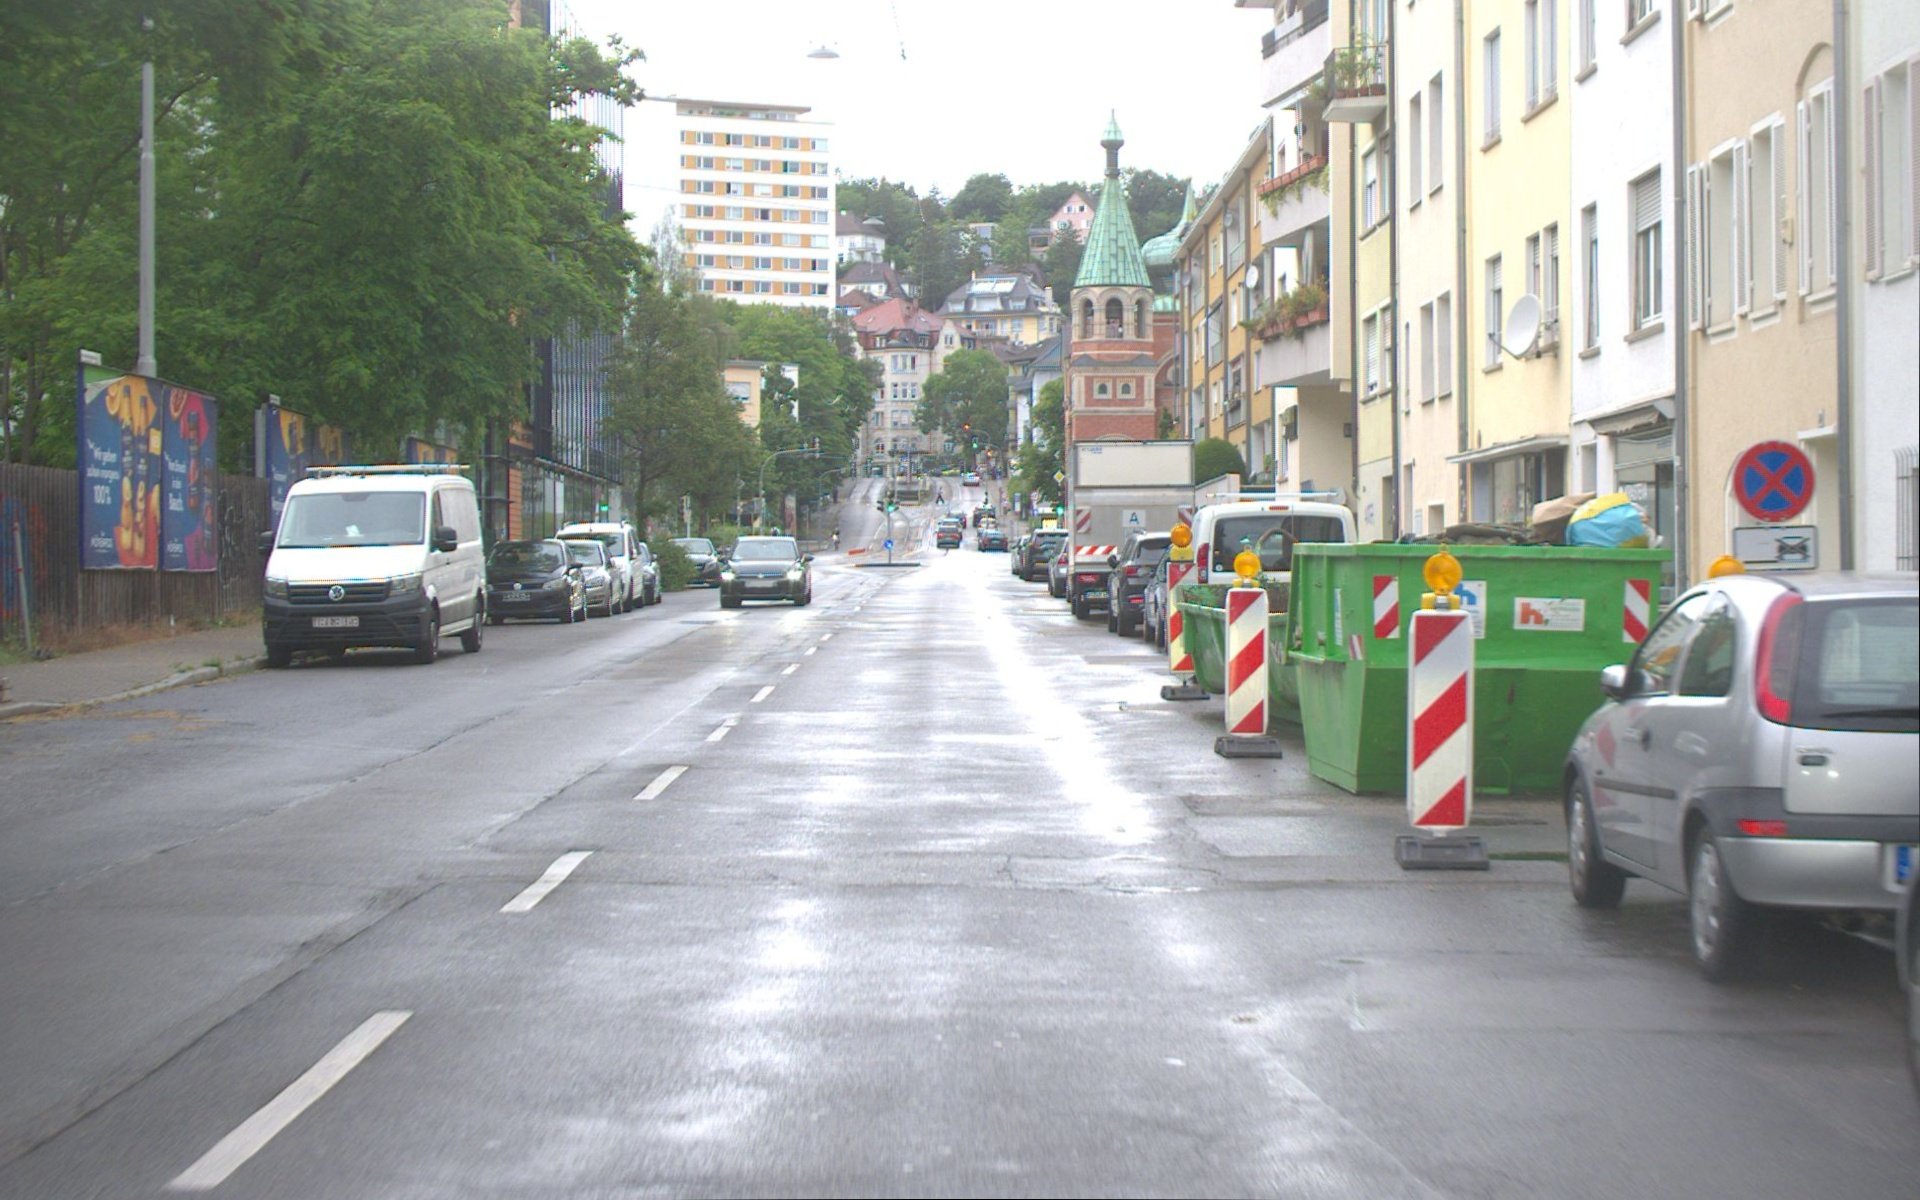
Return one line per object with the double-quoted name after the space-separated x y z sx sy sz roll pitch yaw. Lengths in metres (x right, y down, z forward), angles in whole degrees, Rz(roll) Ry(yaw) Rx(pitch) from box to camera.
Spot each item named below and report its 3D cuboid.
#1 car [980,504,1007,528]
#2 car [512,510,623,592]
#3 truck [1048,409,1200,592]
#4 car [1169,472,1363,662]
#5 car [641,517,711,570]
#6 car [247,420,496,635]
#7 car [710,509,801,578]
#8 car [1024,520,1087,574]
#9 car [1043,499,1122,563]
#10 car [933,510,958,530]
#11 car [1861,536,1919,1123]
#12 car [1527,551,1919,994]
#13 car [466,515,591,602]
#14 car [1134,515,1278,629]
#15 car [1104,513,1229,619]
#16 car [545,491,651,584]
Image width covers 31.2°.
2.385 -5.953 243.776 1.732 1.648 4.000 -1 2 3 "car"
-7.410 -0.909 65.245 1.682 1.457 4.277 -1 0 -1 "car"
2.939 -1.770 63.220 2.469 3.161 7.036 0 1 0 "truck"
3.234 -0.372 36.985 1.817 1.917 4.239 0 1 2 "car"
-8.206 -1.619 99.449 1.803 1.445 4.658 -1 0 -2 "car"
-7.296 -0.907 43.262 2.012 2.478 5.983 -1 1 0 "car"
-4.305 -1.197 72.975 1.805 1.411 4.384 0 1 -2 "car"
3.002 -1.671 108.834 1.817 1.647 4.076 1 1 0 "car"
2.945 -1.662 83.362 1.663 1.497 3.922 0 1 -1 "car"
-1.131 -6.118 262.483 1.908 1.505 4.000 0 1 0 "car"
3.383 0.646 7.467 1.716 1.519 4.000 1 1 -1 "car"
3.315 0.550 13.192 1.626 1.406 3.842 1 1 0 "car"
-7.302 -0.693 58.430 1.682 1.394 3.911 -1 0 -1 "car"
3.345 -0.407 47.391 1.663 1.494 4.098 0 1 0 "car"
3.163 -0.537 53.214 1.663 1.568 4.098 0 1 0 "car"
-7.322 -1.243 69.802 1.723 1.794 4.344 -1 0 -1 "car"
